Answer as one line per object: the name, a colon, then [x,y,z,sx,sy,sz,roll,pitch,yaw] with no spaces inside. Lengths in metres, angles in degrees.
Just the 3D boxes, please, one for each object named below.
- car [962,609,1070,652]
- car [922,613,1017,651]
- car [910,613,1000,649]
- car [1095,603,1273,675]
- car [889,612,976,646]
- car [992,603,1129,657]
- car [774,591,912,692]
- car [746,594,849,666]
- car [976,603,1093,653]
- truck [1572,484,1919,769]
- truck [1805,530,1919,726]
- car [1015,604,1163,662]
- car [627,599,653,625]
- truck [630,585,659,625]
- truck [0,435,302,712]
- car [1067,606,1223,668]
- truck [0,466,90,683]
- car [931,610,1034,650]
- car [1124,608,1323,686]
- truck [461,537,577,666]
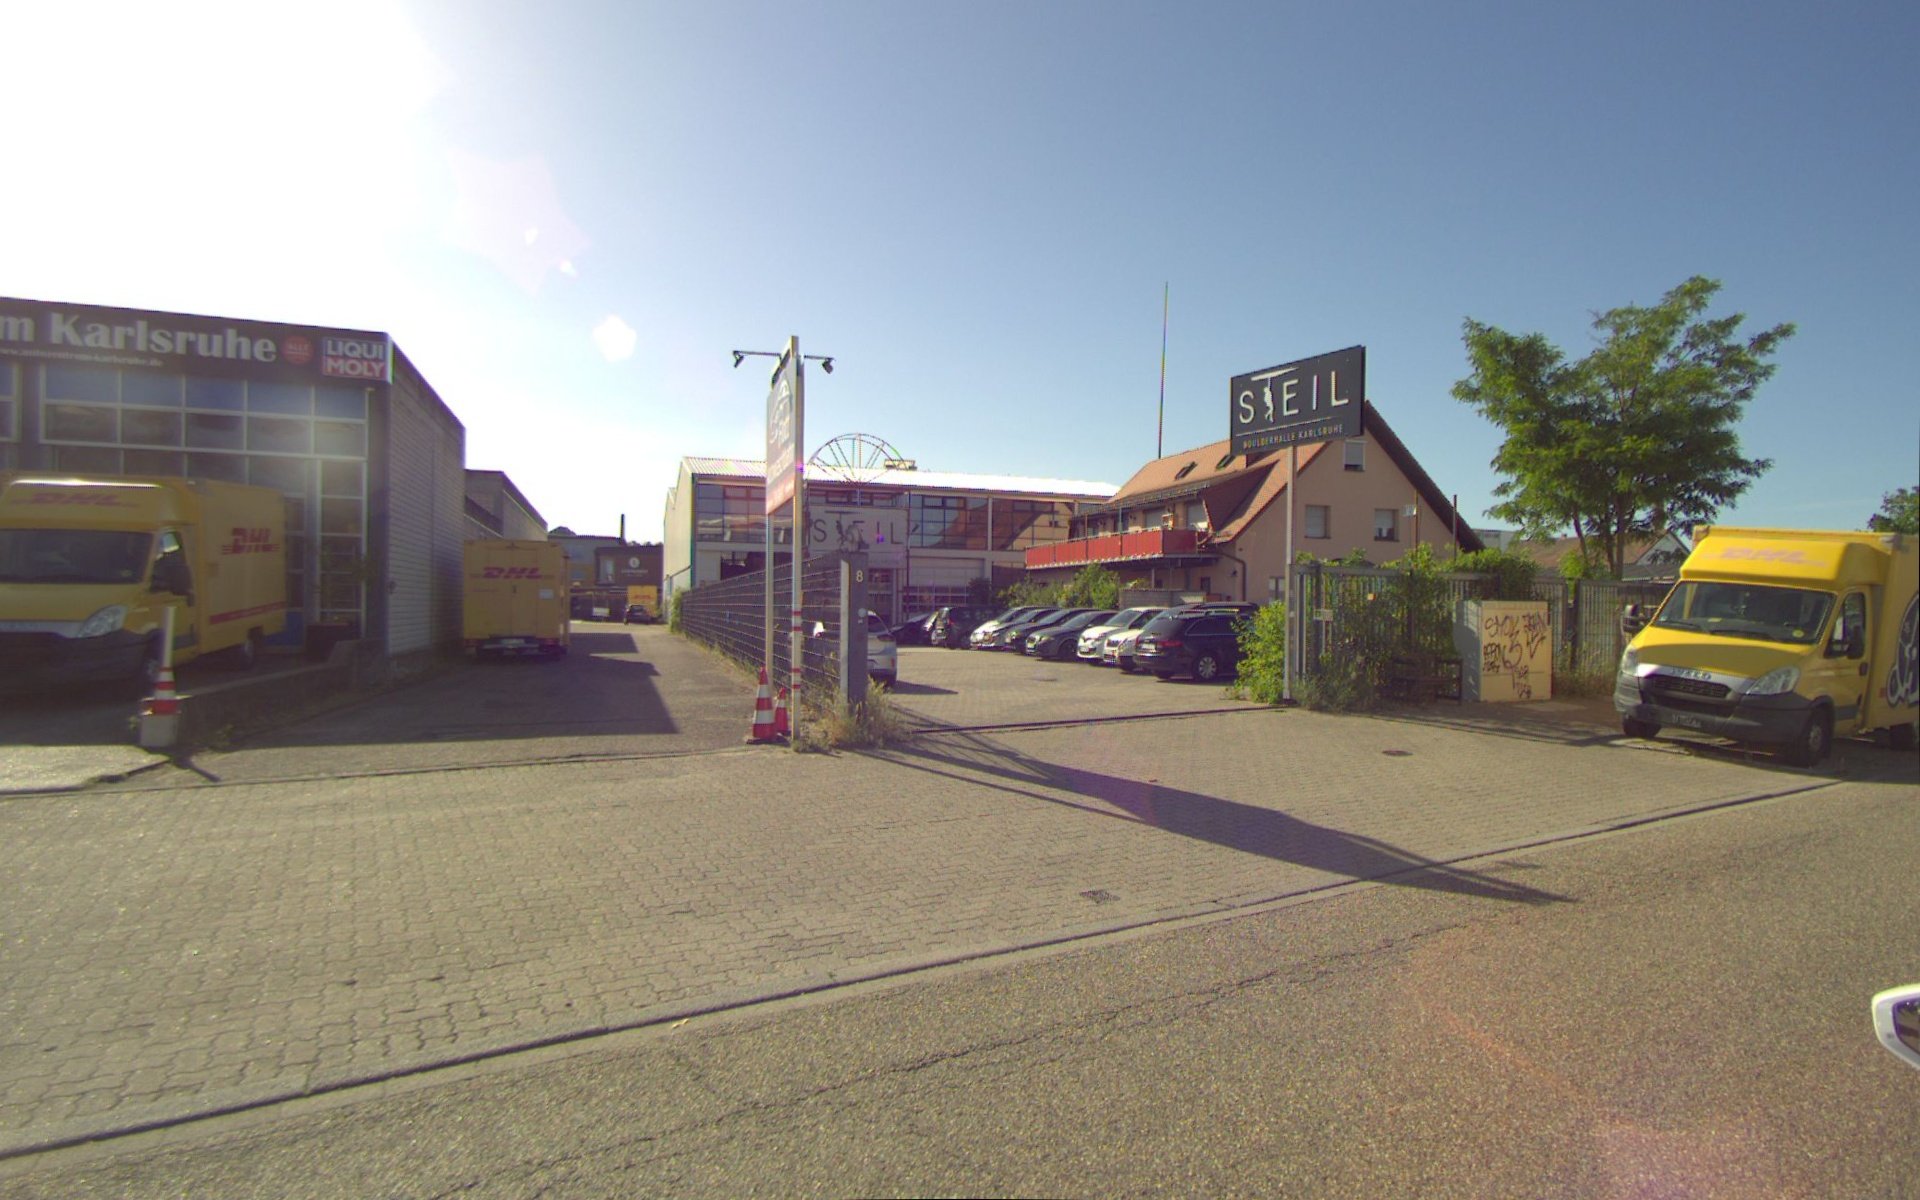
car: [2.064,1.114,36.998,3.717,1.514,1.583,1,0,-28]
car: [0.401,1.339,42.244,3.717,1.514,1.583,1,0,-28]
car: [-0.220,1.361,44.530,3.717,1.514,1.583,1,0,-28]
car: [5.506,0.925,24.768,3.980,1.683,1.693,1,0,-18]
car: [-1.267,1.320,46.684,3.717,1.514,1.583,1,0,-28]
car: [3.210,0.926,31.979,4.068,1.627,1.705,1,0,-28]
car: [-2.466,0.754,20.246,1.818,1.816,4.082,1,0,-21]
car: [-4.244,0.704,25.733,1.818,1.680,4.082,1,0,-21]
car: [2.552,0.948,34.386,3.717,1.627,1.583,1,0,-28]
truck: [11.099,0.295,13.342,6.301,3.023,2.390,1,1,-32]
truck: [16.983,0.439,16.904,6.363,2.941,2.181,1,2,-31]
car: [3.779,0.945,29.558,3.980,1.599,1.693,1,0,-18]
car: [-22.807,0.839,71.713,1.670,1.755,3.794,1,0,-16]
truck: [-24.711,0.388,78.726,2.082,2.976,4.700,1,0,-17]
truck: [-11.287,-0.355,13.856,2.139,3.012,6.086,1,1,-18]
car: [5.010,0.975,27.346,3.855,1.599,1.693,1,0,-18]
truck: [-14.297,-0.363,13.387,2.139,3.012,5.331,1,0,-18]
car: [0.895,1.153,39.223,3.716,1.514,1.584,1,0,-27]
car: [5.783,0.979,22.113,3.980,1.599,1.693,0,0,-18]
truck: [-11.187,0.057,25.828,2.376,2.976,4.696,1,0,-20]
